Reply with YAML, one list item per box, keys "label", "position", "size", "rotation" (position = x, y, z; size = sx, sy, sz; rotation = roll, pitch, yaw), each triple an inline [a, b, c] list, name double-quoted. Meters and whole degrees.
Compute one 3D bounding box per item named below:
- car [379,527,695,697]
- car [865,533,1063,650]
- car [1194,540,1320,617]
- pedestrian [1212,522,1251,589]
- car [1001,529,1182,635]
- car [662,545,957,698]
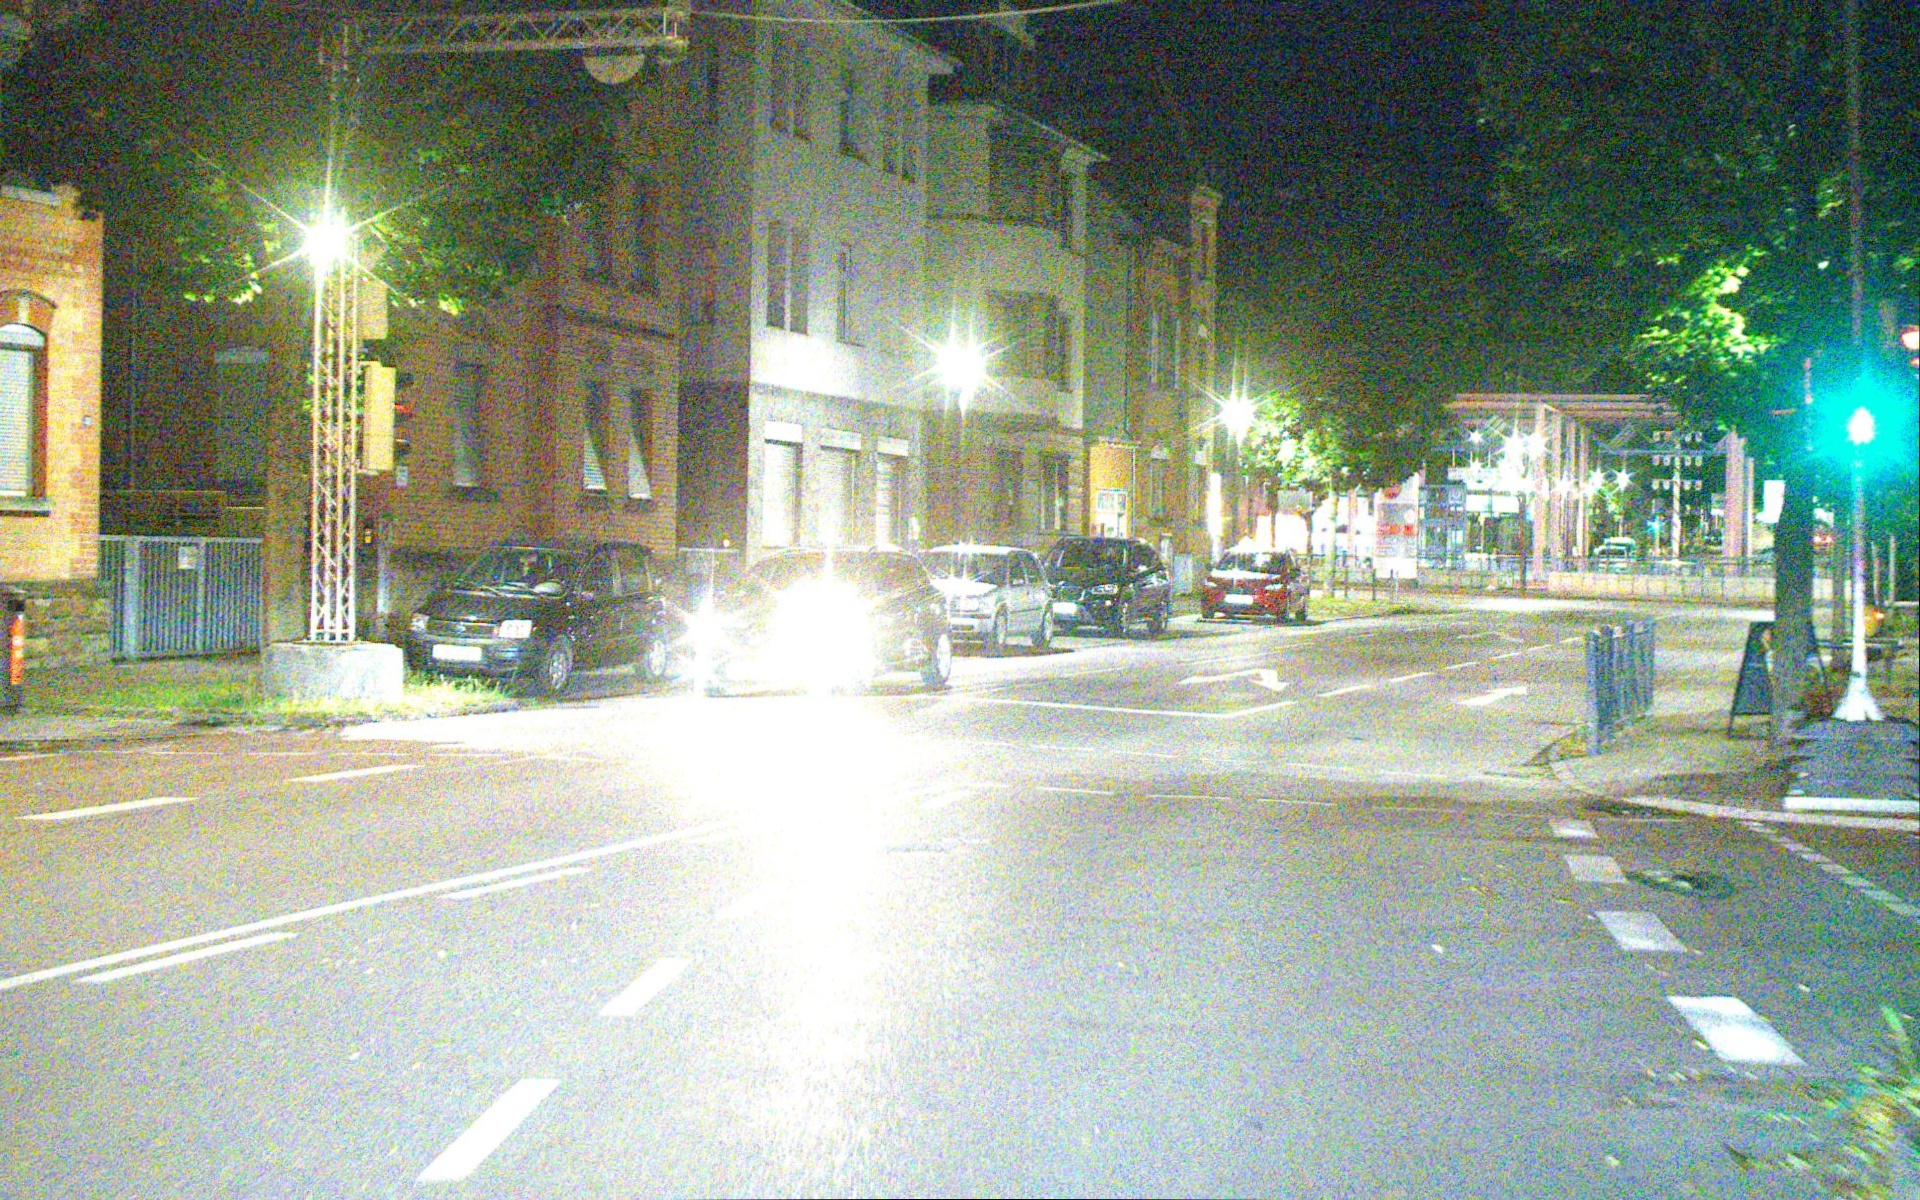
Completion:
- label: "car"
  position: [-4.249, 0.076, 35.069]
  size: [1.594, 1.486, 3.696]
  rotation: [4, 3, 21]
- label: "car"
  position: [0.109, -0.158, 49.149]
  size: [1.786, 1.486, 3.997]
  rotation: [4, 2, 15]
- label: "car"
  position: [5.994, -0.449, 69.047]
  size: [1.786, 1.411, 4.124]
  rotation: [3, 2, 15]
- label: "pedestrian"
  position: [7.443, -1.219, 94.261]
  size: [0.723, 1.815, 0.692]
  rotation: [3, 0, -30]
- label: "car"
  position: [2.224, -0.327, 56.878]
  size: [1.786, 1.576, 4.407]
  rotation: [4, 2, 18]
- label: "car"
  position: [-1.432, 0.174, 34.332]
  size: [1.716, 1.425, 3.997]
  rotation: [0, 1, 17]
